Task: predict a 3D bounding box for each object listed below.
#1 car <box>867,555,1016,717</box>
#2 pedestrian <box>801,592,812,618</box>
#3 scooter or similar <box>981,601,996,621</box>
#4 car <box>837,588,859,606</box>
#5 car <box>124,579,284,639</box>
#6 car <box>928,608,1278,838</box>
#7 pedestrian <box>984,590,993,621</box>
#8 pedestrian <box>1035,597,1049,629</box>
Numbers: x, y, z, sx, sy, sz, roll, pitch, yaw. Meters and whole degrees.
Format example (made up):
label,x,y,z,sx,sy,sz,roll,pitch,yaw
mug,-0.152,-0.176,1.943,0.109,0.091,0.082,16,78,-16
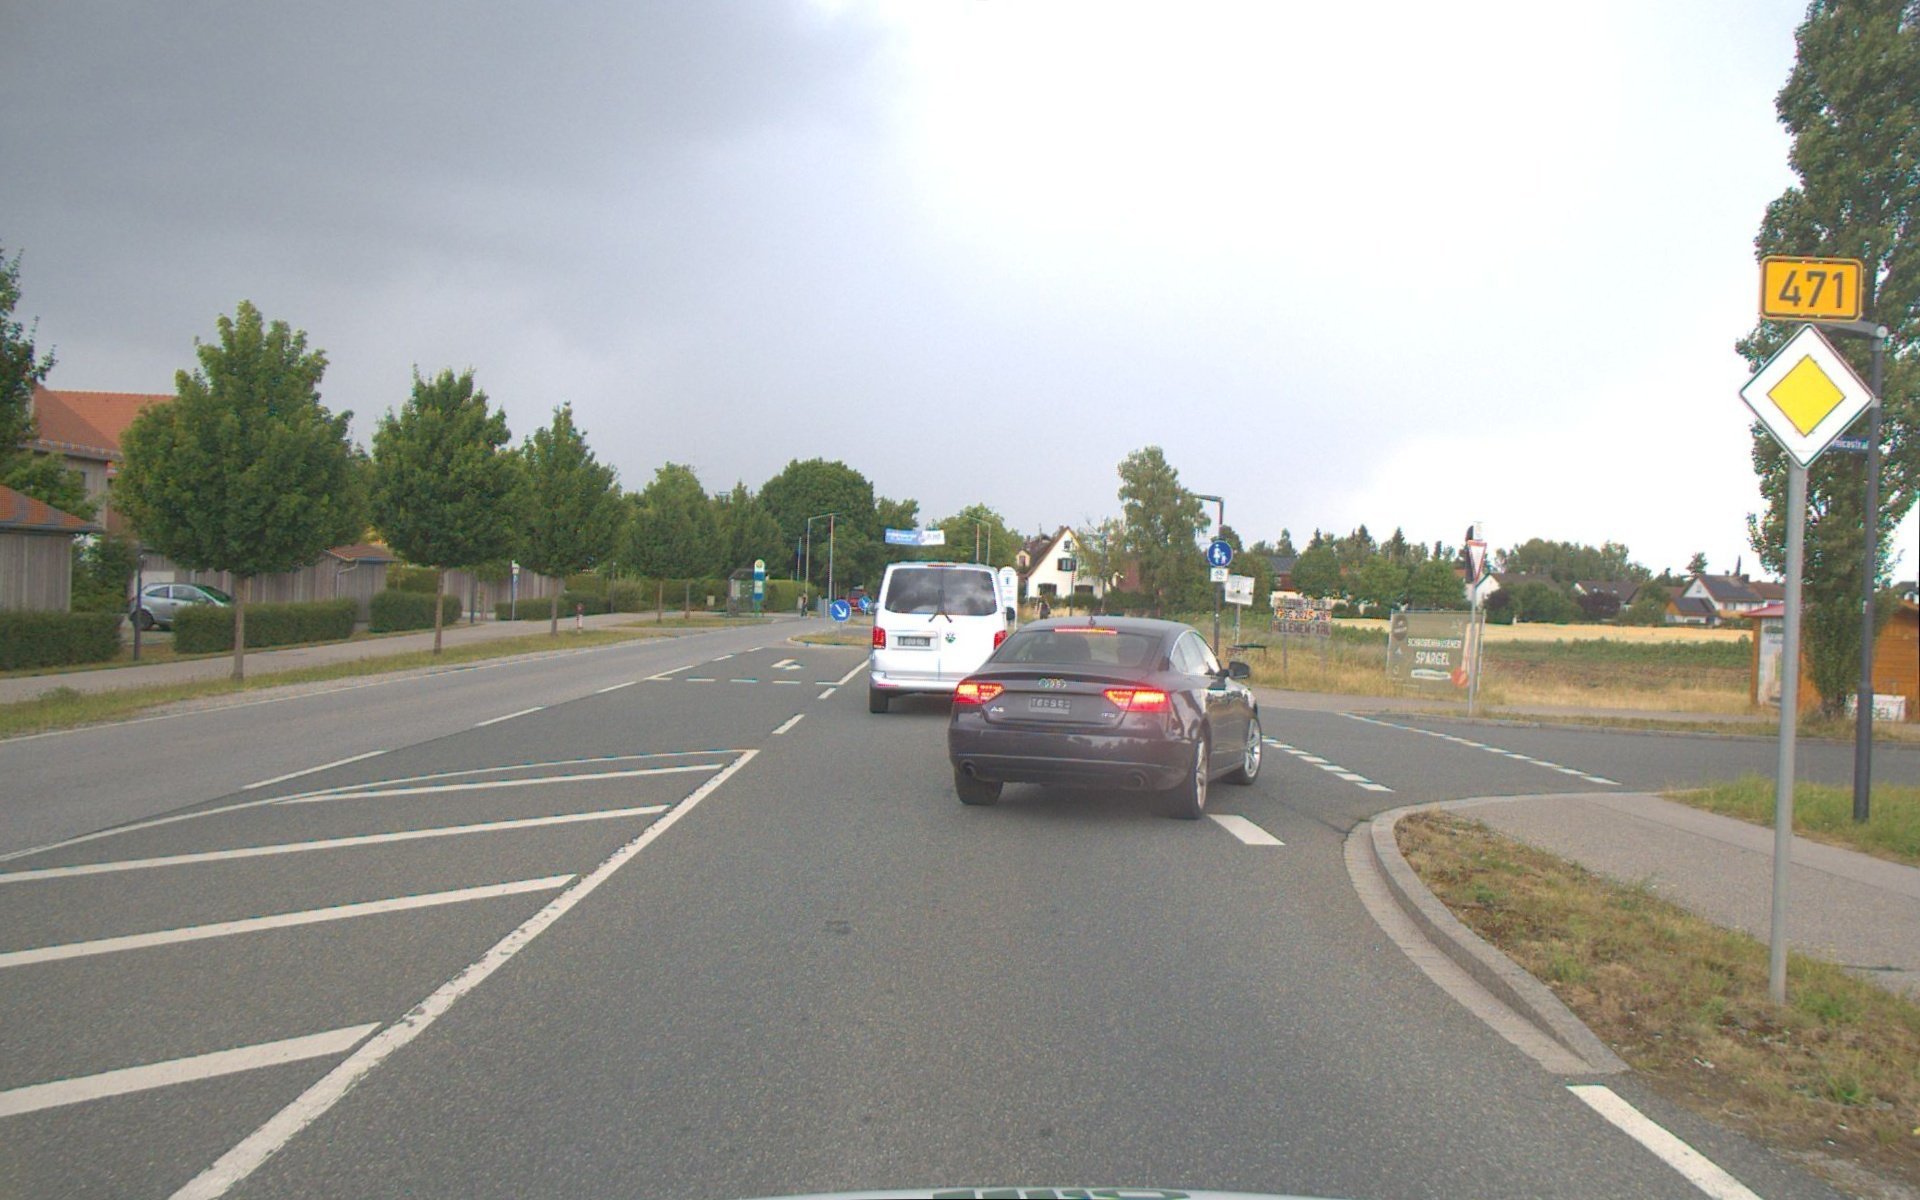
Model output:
label,x,y,z,sx,sy,sz,roll,pitch,yaw
car,-0.309,0.440,22.849,1.789,1.946,3.998,3,0,-2
pedestrian,-9.475,0.311,101.883,0.611,1.551,0.679,0,0,-1
scooter or similar,1.631,0.636,94.448,0.831,1.123,1.094,0,0,-1
car,-9.135,-0.289,135.456,1.620,1.454,3.601,0,0,-1
car,-23.172,0.273,50.775,3.905,1.583,2.000,3,0,0
car,1.318,0.805,13.042,1.787,1.413,4.389,0,1,18
pedestrian,1.622,0.307,93.544,0.475,1.762,0.642,0,0,-1
pedestrian,4.048,0.651,81.503,0.611,1.551,0.679,0,0,-1
